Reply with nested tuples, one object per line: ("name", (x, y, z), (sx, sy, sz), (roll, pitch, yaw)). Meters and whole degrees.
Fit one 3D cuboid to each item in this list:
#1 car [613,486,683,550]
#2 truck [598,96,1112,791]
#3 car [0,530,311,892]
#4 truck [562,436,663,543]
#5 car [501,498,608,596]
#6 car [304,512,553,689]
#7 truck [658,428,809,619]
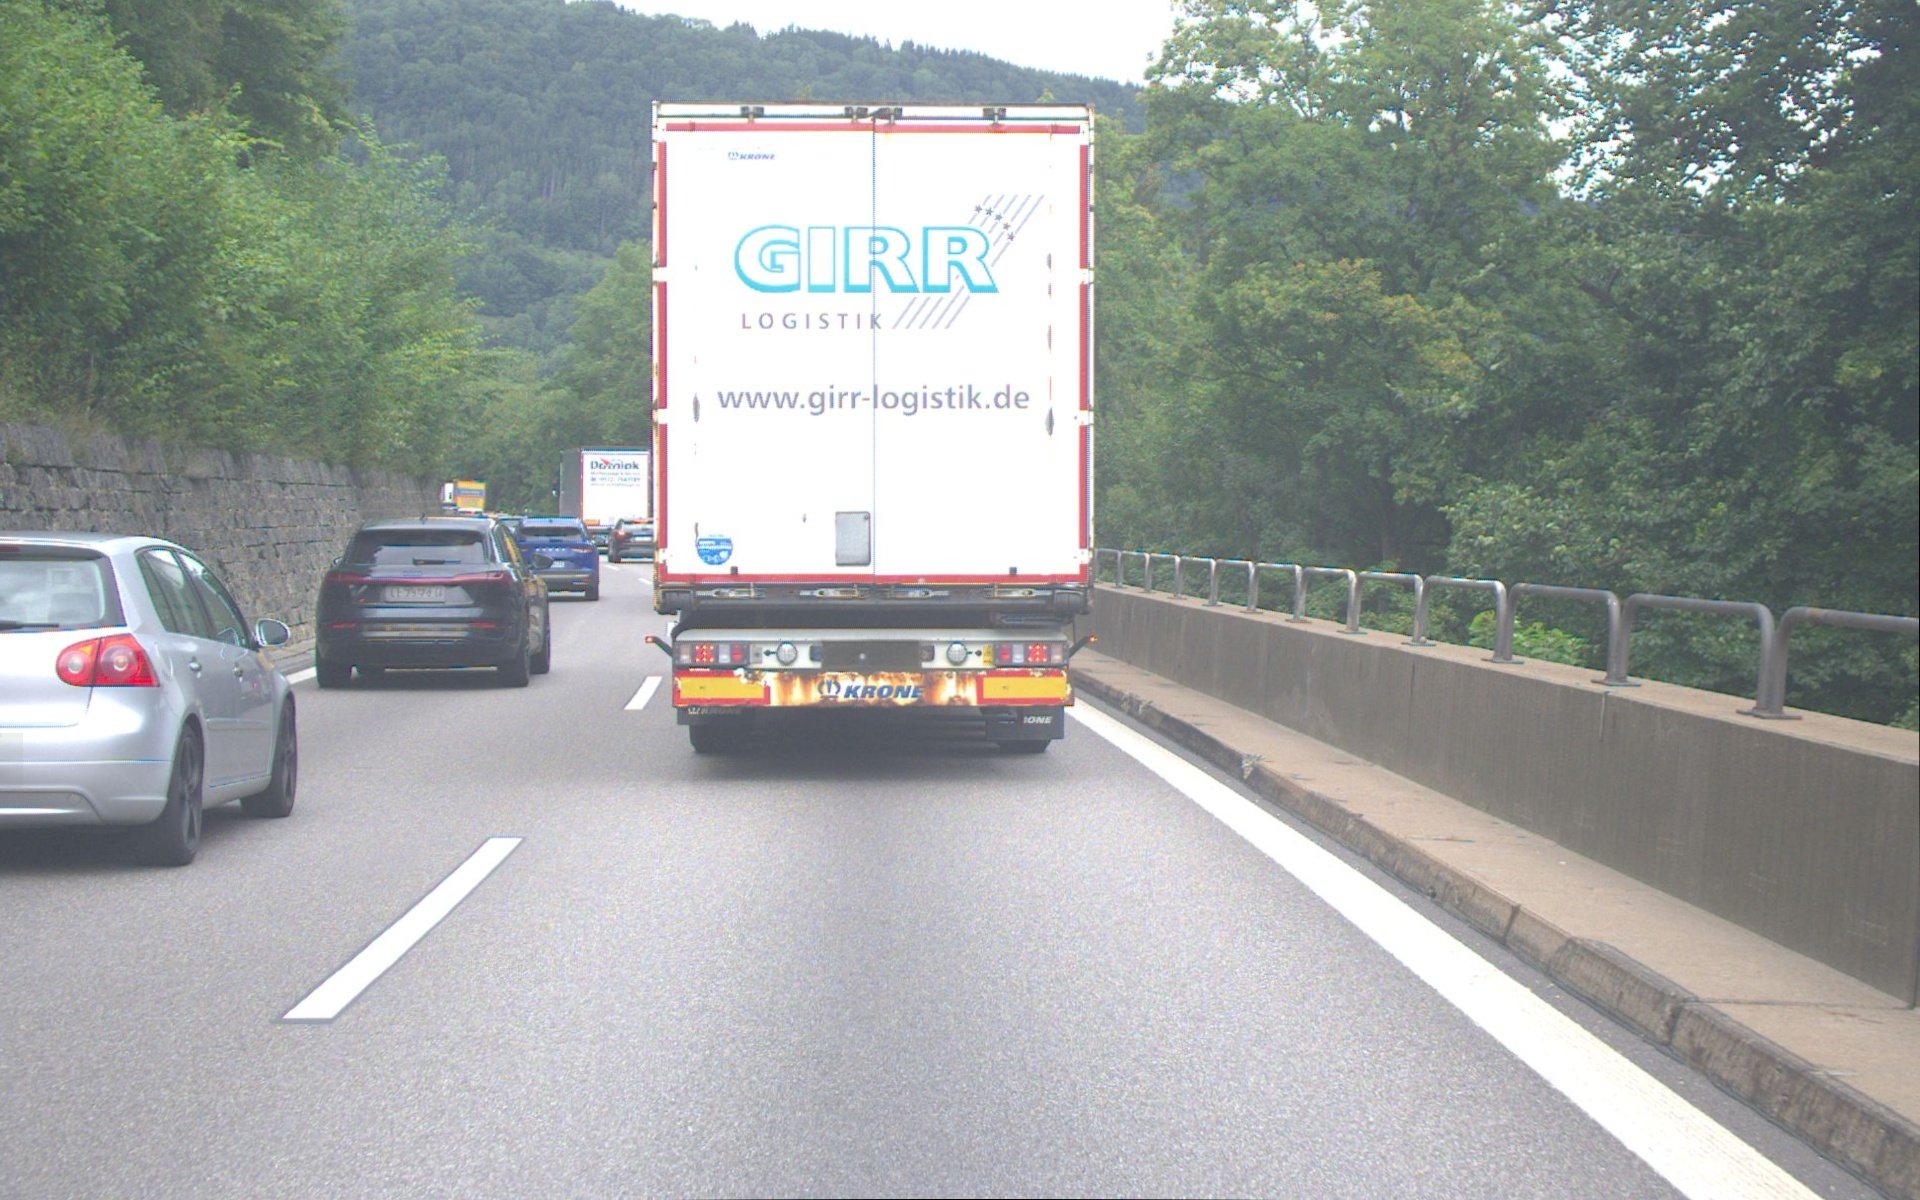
("car", (-10.117, -2.637, 111.625), (1.993, 2.007, 4.000), (1, 1, -2))
("truck", (-0.747, -0.990, 24.258), (2.908, 3.947, 9.280), (0, 1, -2))
("car", (-4.233, 0.416, 16.059), (1.729, 1.481, 4.000), (0, 1, -1))
("truck", (-13.514, -4.182, 133.039), (3.510, 3.834, 11.779), (1, 1, -7))
("car", (-7.875, -1.043, 66.968), (1.993, 1.842, 4.001), (1, 1, -6))
("car", (-5.030, -0.035, 33.046), (1.916, 1.589, 4.179), (0, 1, -2))
("truck", (-4.433, -1.512, 68.777), (2.486, 3.559, 9.309), (0, 1, -1))
